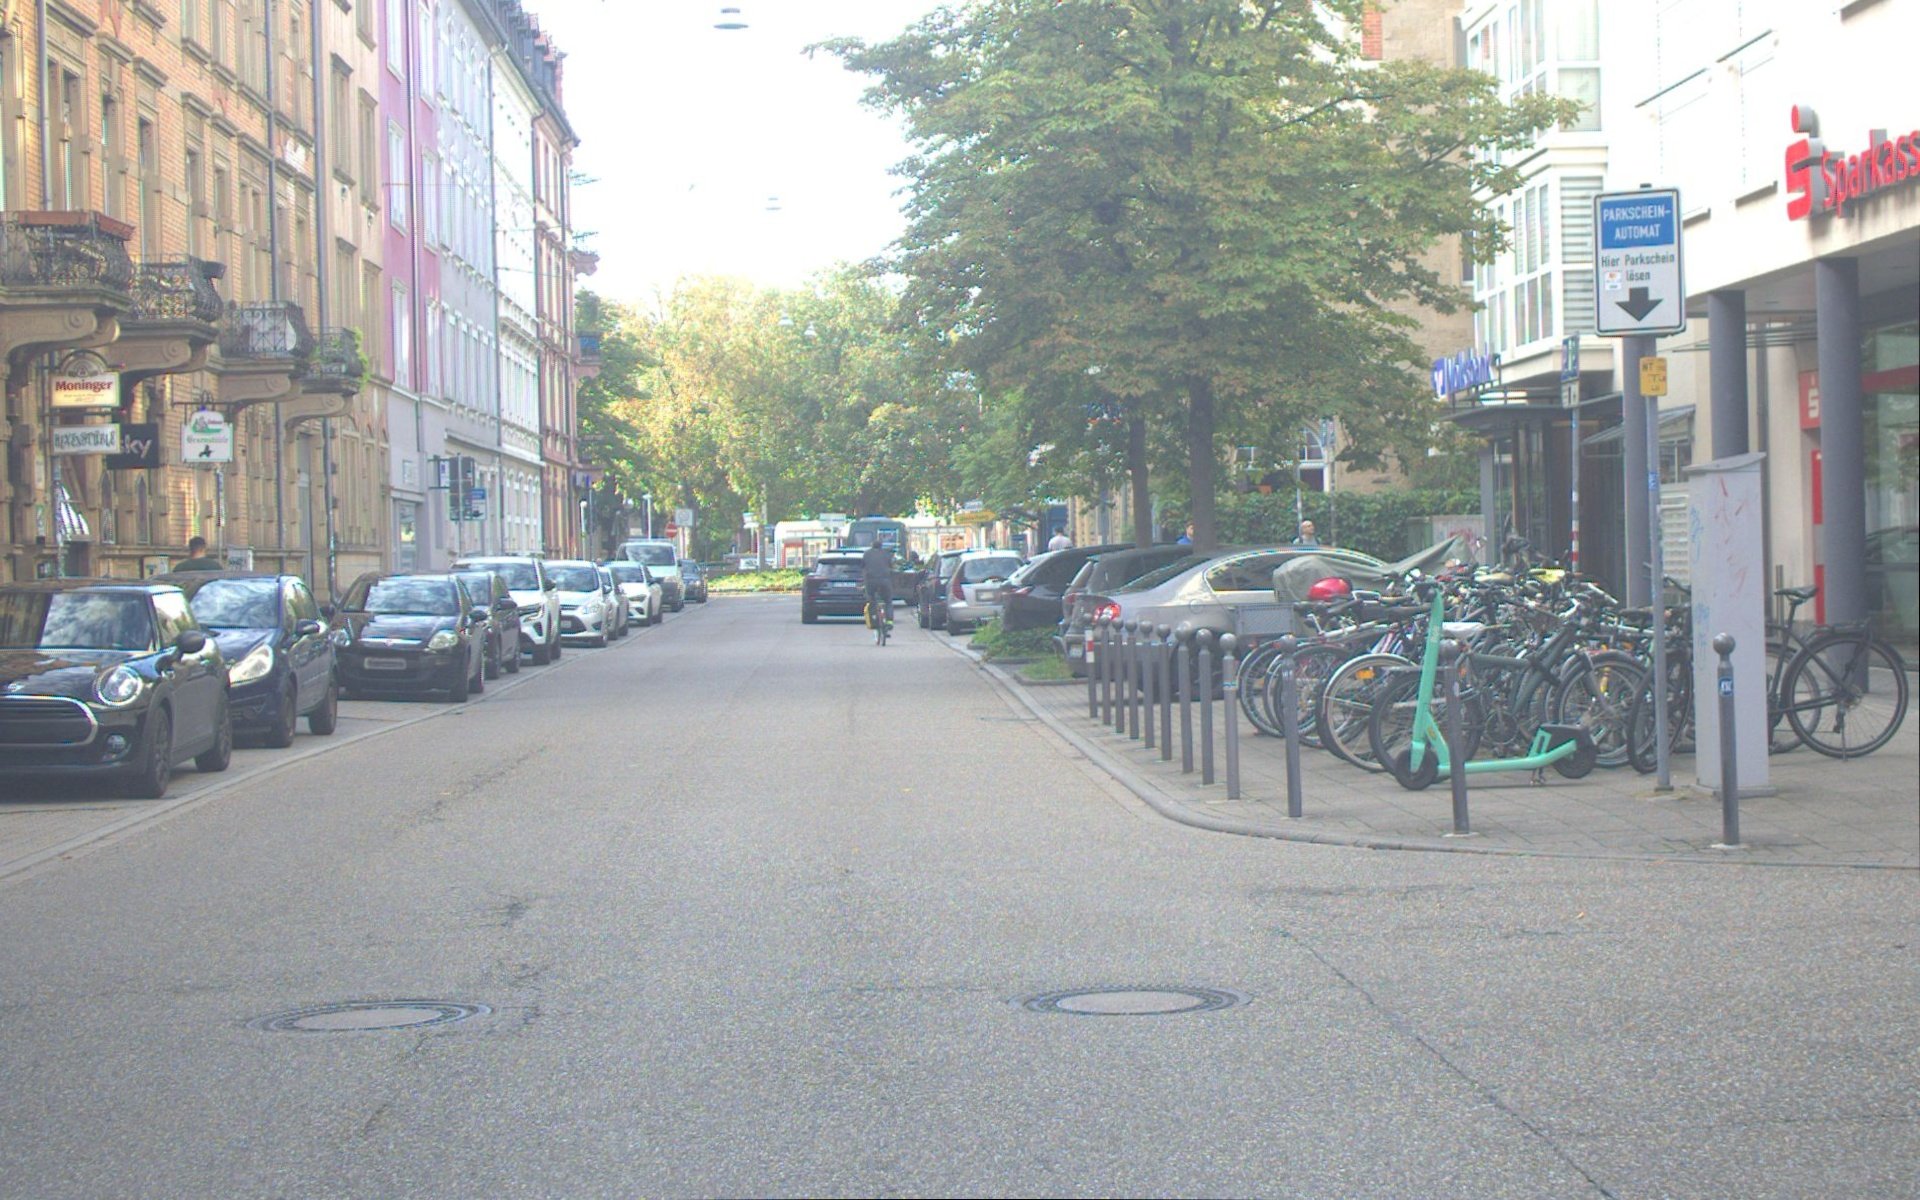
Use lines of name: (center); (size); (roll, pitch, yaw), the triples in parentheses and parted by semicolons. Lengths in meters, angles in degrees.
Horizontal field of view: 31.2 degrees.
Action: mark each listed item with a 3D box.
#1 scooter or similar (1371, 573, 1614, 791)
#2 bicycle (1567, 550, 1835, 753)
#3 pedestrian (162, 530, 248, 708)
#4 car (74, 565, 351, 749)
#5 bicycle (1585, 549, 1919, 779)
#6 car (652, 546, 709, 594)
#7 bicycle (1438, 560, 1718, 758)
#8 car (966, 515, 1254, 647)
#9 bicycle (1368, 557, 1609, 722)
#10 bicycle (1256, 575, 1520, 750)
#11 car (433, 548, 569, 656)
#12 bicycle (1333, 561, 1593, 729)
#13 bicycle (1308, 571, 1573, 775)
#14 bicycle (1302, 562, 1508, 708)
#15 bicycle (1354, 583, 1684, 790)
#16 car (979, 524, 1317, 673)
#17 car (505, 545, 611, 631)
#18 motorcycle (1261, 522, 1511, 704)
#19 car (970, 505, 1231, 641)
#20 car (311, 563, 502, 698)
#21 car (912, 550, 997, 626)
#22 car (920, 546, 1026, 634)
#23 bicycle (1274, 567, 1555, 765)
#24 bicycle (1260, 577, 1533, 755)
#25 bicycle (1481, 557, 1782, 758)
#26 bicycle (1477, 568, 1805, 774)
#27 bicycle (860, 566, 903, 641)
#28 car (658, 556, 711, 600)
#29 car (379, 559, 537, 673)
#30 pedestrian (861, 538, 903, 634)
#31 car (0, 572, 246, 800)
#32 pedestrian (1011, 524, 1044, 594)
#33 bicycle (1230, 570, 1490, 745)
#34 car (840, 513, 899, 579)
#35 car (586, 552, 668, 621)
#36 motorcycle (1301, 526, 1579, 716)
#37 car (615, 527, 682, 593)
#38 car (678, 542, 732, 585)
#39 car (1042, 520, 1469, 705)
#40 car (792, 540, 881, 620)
scooter or similar: (2.960, 0.460, 19.119); (1.207, 1.143, 0.378); (-3, 2, 30)
bicycle: (4.561, 0.309, 21.197); (1.495, 1.142, 0.411); (-4, 1, -1)
pedestrian: (-7.943, 0.184, 36.187); (0.689, 1.847, 0.931); (0, 1, 0)
car: (-6.377, 0.438, 29.689); (1.690, 1.432, 3.868); (0, 1, -2)
bicycle: (4.493, 0.348, 19.364); (1.765, 1.158, 0.650); (-4, 1, 1)
car: (-9.017, -0.972, 111.278); (1.690, 1.545, 3.867); (0, 1, -2)
bicycle: (4.002, 0.367, 22.226); (1.765, 1.142, 0.411); (-4, 2, -21)
car: (2.170, -0.283, 49.580); (3.987, 1.634, 2.000); (-3, 1, 3)
bicycle: (4.101, 0.299, 26.740); (1.732, 1.155, 0.500); (-4, 1, 0)
bicycle: (3.028, 0.436, 24.379); (1.765, 1.115, 0.411); (-4, 1, 1)
car: (-6.966, -0.001, 52.454); (1.690, 1.545, 3.868); (-1, 1, -2)
bicycle: (3.758, 0.342, 25.738); (1.796, 1.155, 0.499); (-3, 2, 24)
bicycle: (2.947, 0.440, 21.116); (1.495, 1.142, 0.411); (-4, 1, -6)
bicycle: (3.872, 0.301, 29.975); (1.664, 1.155, 0.557); (-4, 1, 0)
bicycle: (3.204, 0.490, 19.739); (1.765, 1.053, 0.411); (-4, 1, -6)
car: (2.316, -0.035, 42.453); (3.987, 1.578, 2.000); (-3, 1, 3)
car: (-7.479, -0.242, 64.252); (1.690, 1.545, 3.867); (0, 1, -2)
motorcycle: (3.911, 0.110, 31.646); (2.150, 1.525, 0.686); (-4, 1, 3)
car: (2.231, -0.447, 54.691); (3.987, 1.678, 1.737); (-3, 9, 3)
car: (-6.419, 0.324, 40.181); (1.690, 1.364, 3.868); (3, 1, -2)
car: (-0.136, -0.264, 71.398); (1.690, 1.545, 3.688); (0, 1, -1)
car: (0.224, -0.218, 66.868); (1.930, 1.632, 4.000); (0, 1, -2)
bicycle: (2.949, 0.417, 22.268); (1.765, 1.142, 0.411); (-4, 2, -21)
bicycle: (2.993, 0.452, 23.633); (1.765, 1.095, 0.411); (-4, 1, 1)
bicycle: (4.242, 0.354, 21.729); (1.765, 1.142, 0.411); (-4, 1, -7)
bicycle: (4.026, 0.415, 20.401); (1.765, 1.083, 0.650); (-4, 1, 1)
bicycle: (-1.354, 0.052, 59.584); (0.718, 1.270, 1.884); (0, 1, -1)
car: (-9.784, -0.792, 122.124); (1.587, 1.533, 3.753); (0, 1, 0)
car: (-6.861, 0.191, 47.323); (1.690, 1.364, 3.868); (3, 1, -2)
pedestrian: (-1.352, -0.250, 59.539); (0.718, 1.644, 0.930); (0, 1, -1)
car: (-6.098, 0.531, 23.702); (1.690, 1.382, 3.868); (0, 1, -2)
pedestrian: (2.147, -1.298, 109.612); (0.995, 2.222, 0.898); (0, 1, -1)
bicycle: (2.937, 0.419, 25.312); (1.794, 1.155, 0.500); (-4, 1, 1)
car: (-2.858, -1.703, 108.004); (1.782, 2.013, 3.888); (0, 1, -3)
car: (-7.698, -0.328, 79.762); (1.690, 1.545, 3.867); (0, 1, -2)
motorcycle: (3.981, 0.164, 28.630); (2.150, 1.430, 0.765); (-4, 1, 3)
car: (-8.648, -1.108, 95.665); (1.690, 1.815, 3.867); (0, 1, -2)
car: (-9.857, -1.416, 133.203); (1.855, 1.615, 4.000); (0, 1, -1)
car: (2.873, 0.118, 33.774); (3.759, 1.541, 1.731); (-3, 0, -12)
car: (-2.810, -0.428, 78.324); (1.965, 1.735, 4.041); (-1, 0, -2)
